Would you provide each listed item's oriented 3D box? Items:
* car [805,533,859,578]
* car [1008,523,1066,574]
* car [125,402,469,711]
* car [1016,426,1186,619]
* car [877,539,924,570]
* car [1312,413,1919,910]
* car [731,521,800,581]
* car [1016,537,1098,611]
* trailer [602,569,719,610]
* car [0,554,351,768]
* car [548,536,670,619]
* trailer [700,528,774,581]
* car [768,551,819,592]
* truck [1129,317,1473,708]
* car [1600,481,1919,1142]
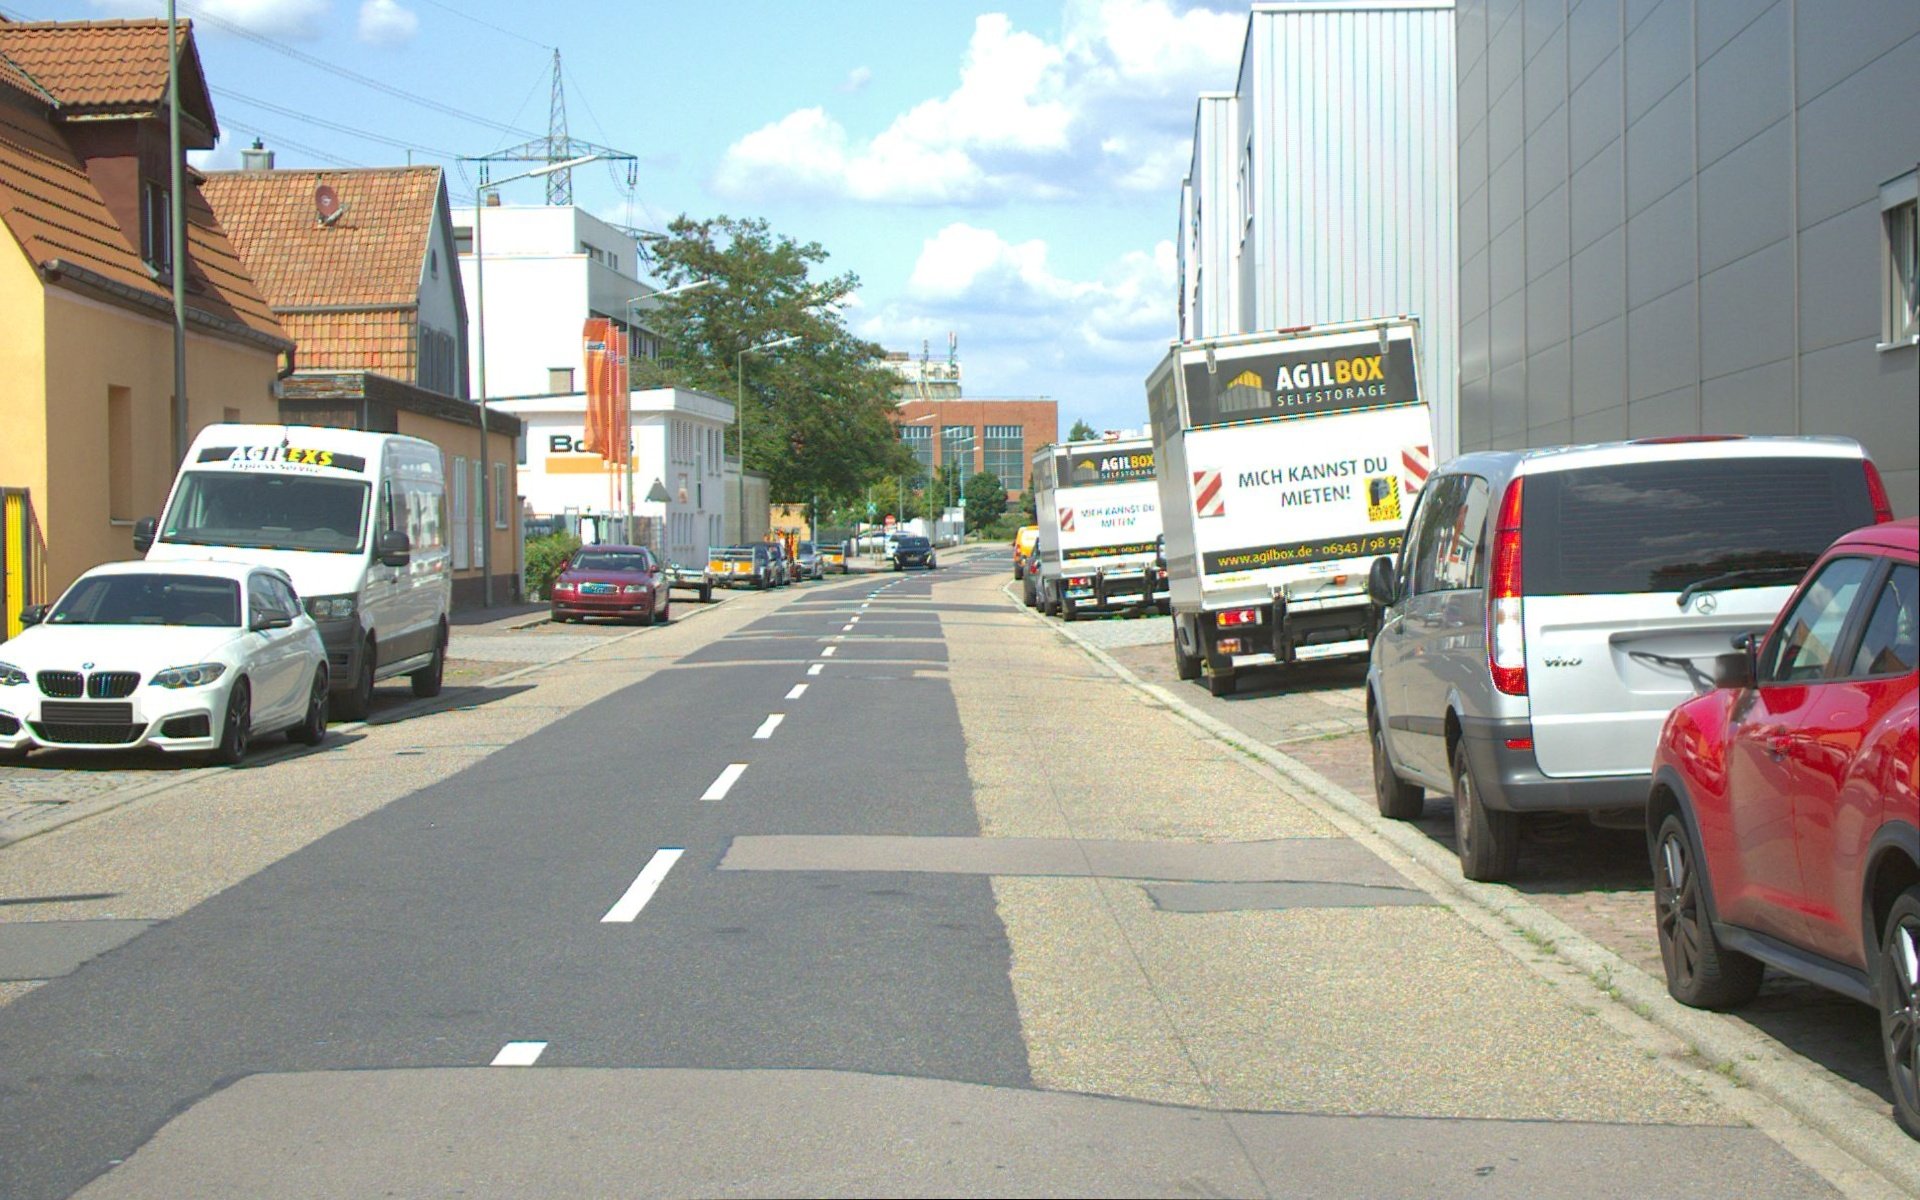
[{"bbox_3d":[-5.301,-1.836,142.825,1.922,1.788,4.000,1,0,2],"label":"car"},{"bbox_3d":[2.715,-1.789,120.020,1.940,1.736,4.376,-1,1,2],"label":"car"},{"bbox_3d":[-6.038,-0.396,32.207,2.026,2.552,6.840,1,1,-1],"label":"car"},{"bbox_3d":[2.596,-1.435,65.287,2.388,3.351,6.646,-3,1,-3],"label":"car"},{"bbox_3d":[-2.563,-1.986,149.166,1.918,1.280,3.614,-1,1,1],"label":"car"},{"bbox_3d":[3.028,0.204,16.614,2.054,1.897,5.147,-4,1,1],"label":"car"},{"bbox_3d":[-6.737,-1.683,119.357,1.993,2.007,4.000,1,0,2],"label":"car"},{"bbox_3d":[2.173,-0.595,77.745,1.768,1.607,3.873,0,0,1],"label":"car"},{"bbox_3d":[-7.160,-0.262,82.771,2.362,0.890,5.569,1,1,-1],"label":"trailer"},{"bbox_3d":[-5.792,0.382,25.146,1.796,1.392,4.502,1,1,1],"label":"car"},{"bbox_3d":[-6.485,-0.426,63.948,1.762,1.442,4.741,2,0,0],"label":"car"},{"bbox_3d":[-6.715,-1.385,103.968,1.993,1.551,4.254,0,1,-1],"label":"trailer"},{"bbox_3d":[-6.034,-1.034,124.874,1.668,1.442,3.454,2,0,0],"label":"car"},{"bbox_3d":[3.212,-0.827,34.116,2.458,3.282,6.818,-5,1,0],"label":"truck"},{"bbox_3d":[3.131,0.452,9.712,1.704,1.619,4.093,-3,1,-1],"label":"car"}]
